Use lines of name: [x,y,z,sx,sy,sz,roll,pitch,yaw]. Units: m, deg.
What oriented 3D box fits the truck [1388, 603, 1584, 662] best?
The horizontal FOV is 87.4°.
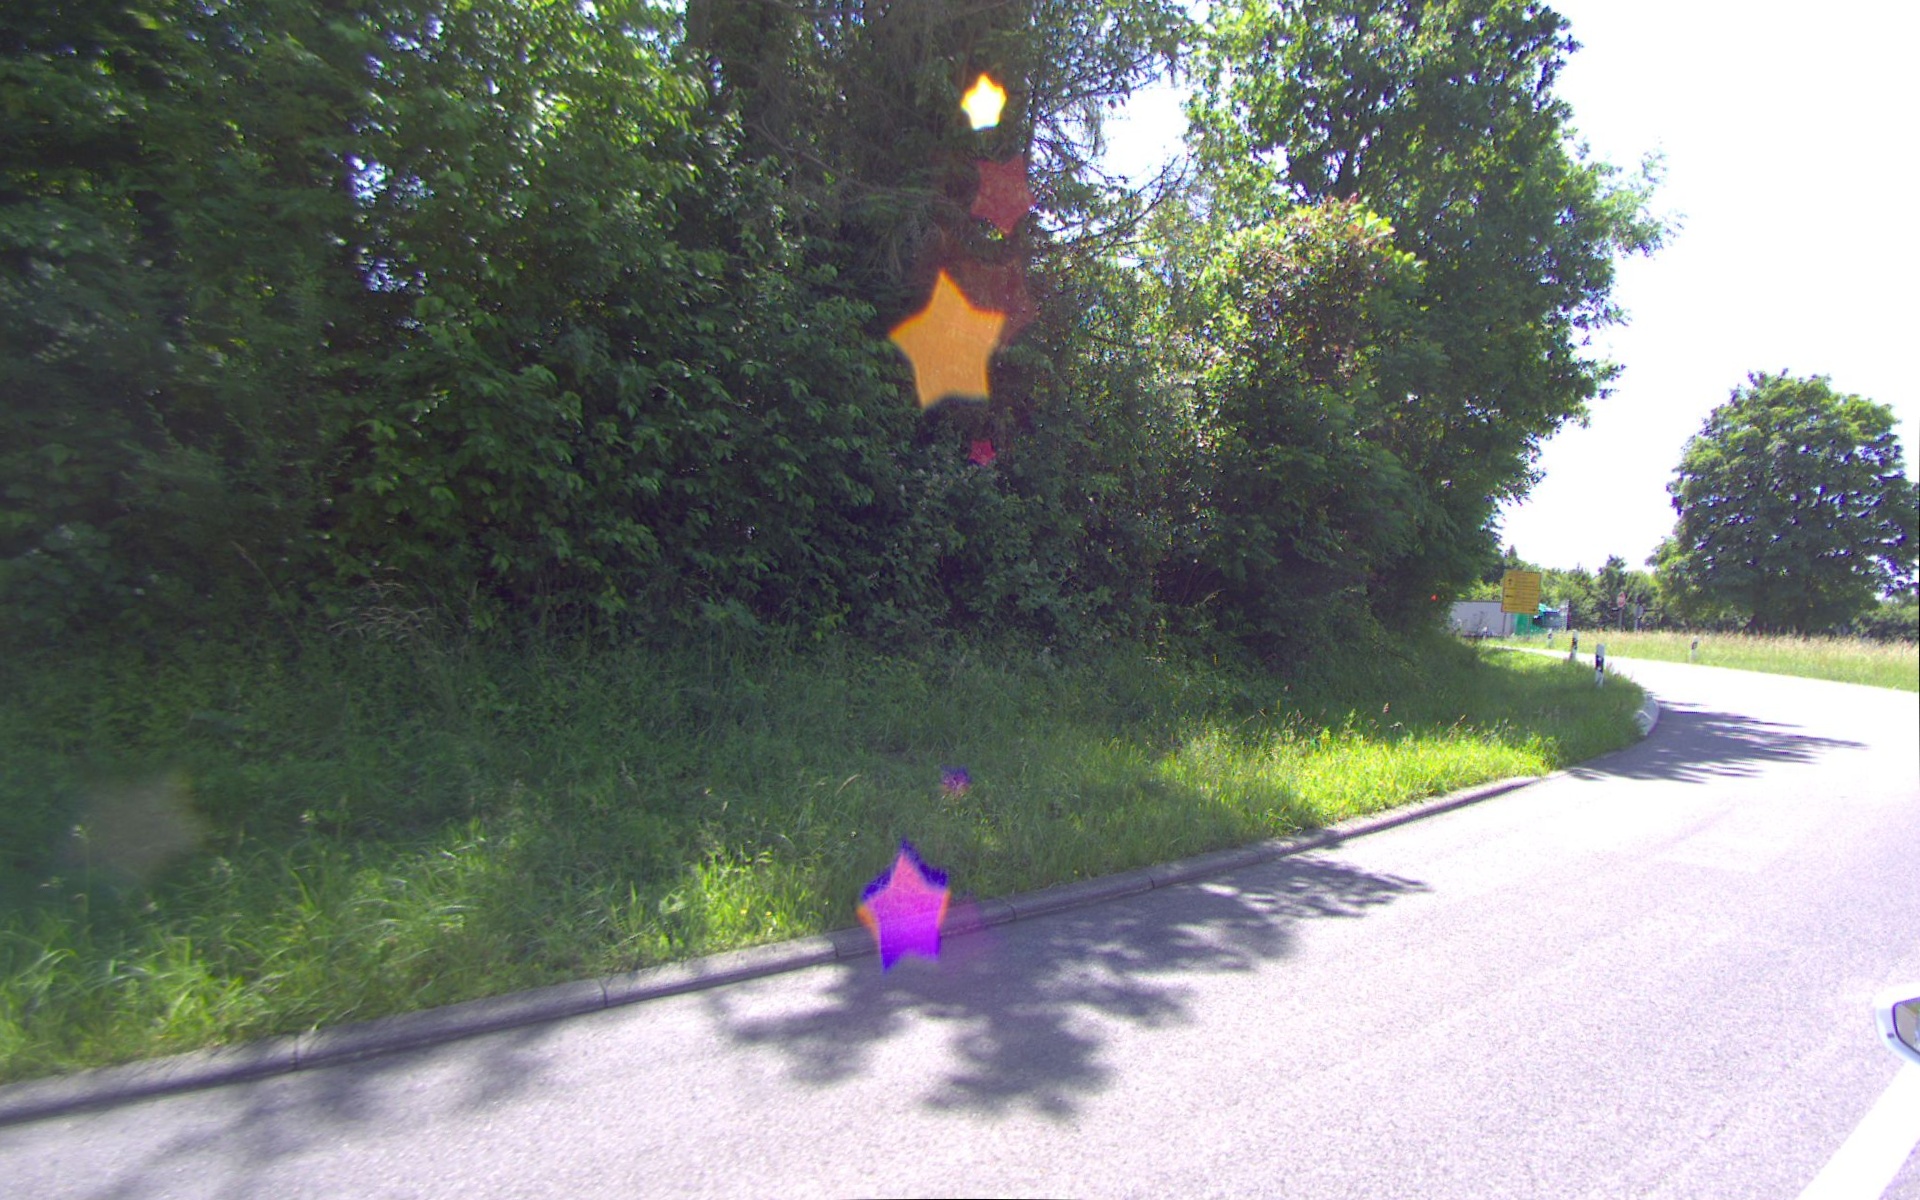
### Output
truck: [45.753,2.661,88.657,3.095,4.228,16.575,4,0,-26]
